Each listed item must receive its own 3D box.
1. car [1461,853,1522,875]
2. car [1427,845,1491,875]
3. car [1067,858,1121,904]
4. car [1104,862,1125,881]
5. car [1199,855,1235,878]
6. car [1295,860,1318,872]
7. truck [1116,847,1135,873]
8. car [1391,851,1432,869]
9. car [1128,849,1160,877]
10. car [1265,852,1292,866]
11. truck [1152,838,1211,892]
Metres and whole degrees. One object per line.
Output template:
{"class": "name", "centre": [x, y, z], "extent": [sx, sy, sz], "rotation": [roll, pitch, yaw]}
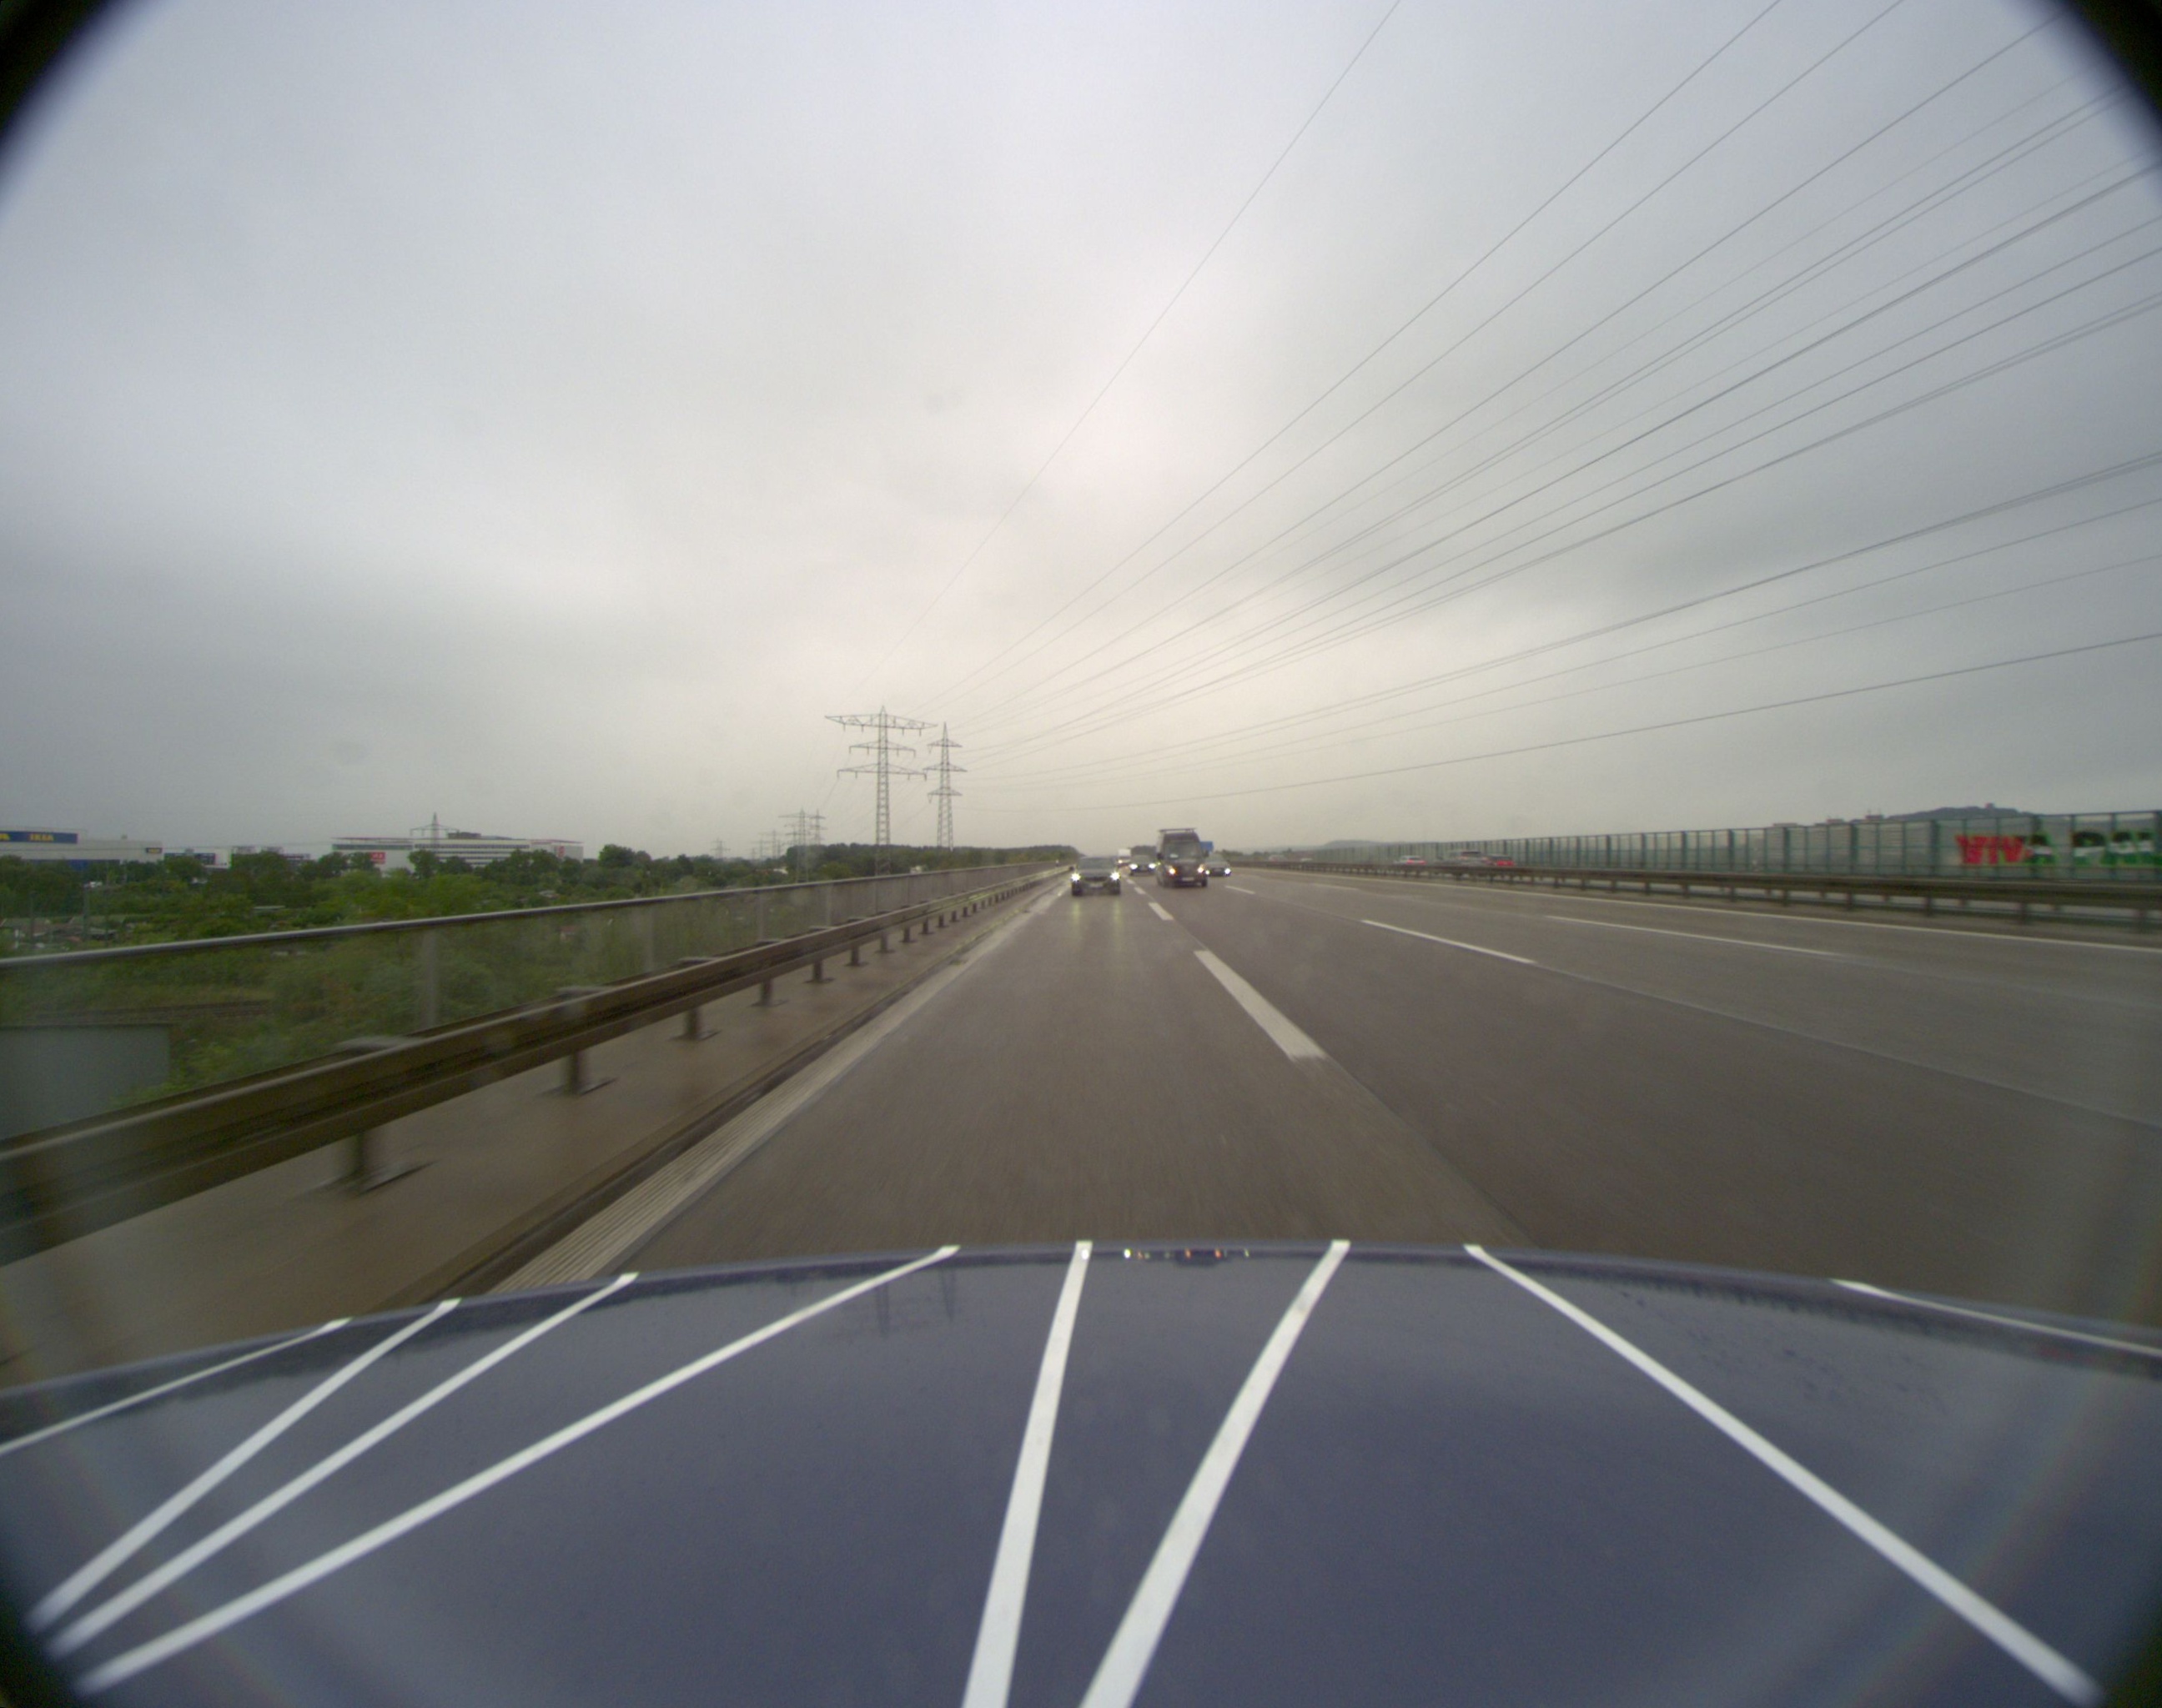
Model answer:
{"class": "car", "centre": [28.353, 0.647, 52.670], "extent": [1.846, 1.422, 4.468], "rotation": [2, 1, 1]}
{"class": "car", "centre": [23.860, 0.333, 48.123], "extent": [1.846, 1.734, 4.468], "rotation": [2, 1, 1]}
{"class": "car", "centre": [0.474, 0.969, 28.921], "extent": [1.862, 1.531, 4.203], "rotation": [-2, 0, 0]}
{"class": "car", "centre": [3.369, 1.736, 76.225], "extent": [1.998, 1.706, 4.000], "rotation": [1, 1, 1]}
{"class": "car", "centre": [8.879, 0.818, 50.005], "extent": [1.729, 1.394, 4.830], "rotation": [-2, -1, 3]}
{"class": "car", "centre": [33.580, 1.814, 113.042], "extent": [1.998, 1.654, 4.702], "rotation": [-3, -1, 1]}
{"class": "truck", "centre": [7.533, 1.066, 128.798], "extent": [2.704, 4.171, 8.925], "rotation": [-2, -1, 1]}
{"class": "car", "centre": [32.477, 0.561, 74.866], "extent": [1.998, 1.655, 4.701], "rotation": [-2, 1, 1]}
{"class": "car", "centre": [4.702, 0.654, 57.563], "extent": [1.998, 2.002, 4.785], "rotation": [-2, 0, 0]}
{"class": "car", "centre": [21.499, 0.563, 82.784], "extent": [1.846, 1.422, 4.468], "rotation": [2, 1, 1]}
{"class": "truck", "centre": [4.683, 0.421, 36.293], "extent": [1.999, 2.324, 6.109], "rotation": [-1, 1, 0]}
